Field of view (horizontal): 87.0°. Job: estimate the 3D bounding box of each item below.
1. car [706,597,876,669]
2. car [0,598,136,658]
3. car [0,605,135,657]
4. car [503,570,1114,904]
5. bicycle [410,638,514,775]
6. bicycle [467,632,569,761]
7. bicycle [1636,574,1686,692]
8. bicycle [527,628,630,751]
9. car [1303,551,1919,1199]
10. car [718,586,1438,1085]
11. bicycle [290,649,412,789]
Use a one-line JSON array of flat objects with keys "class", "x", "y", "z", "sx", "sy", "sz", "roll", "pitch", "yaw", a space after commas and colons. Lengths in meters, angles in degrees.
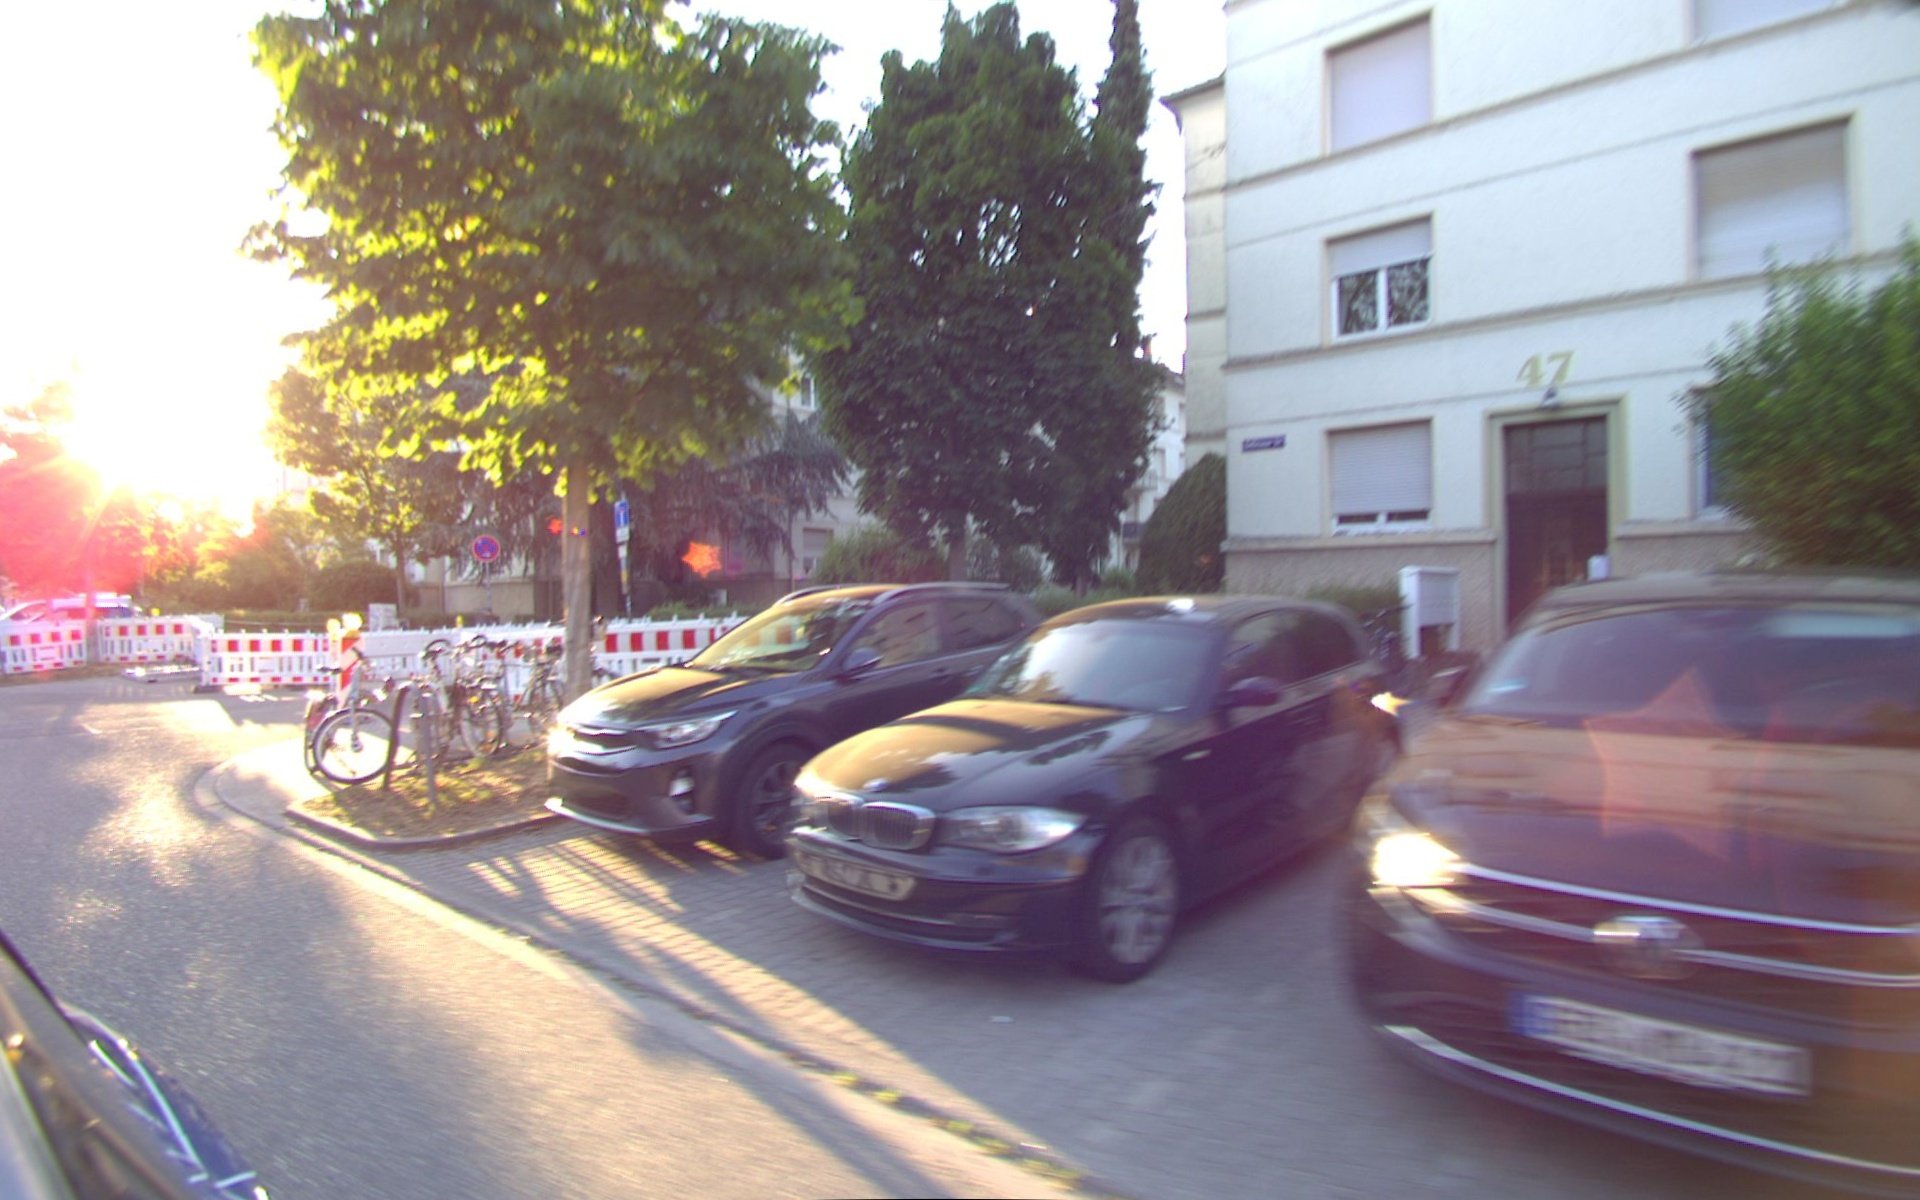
[{"class": "car", "x": -3.892, "y": 0.704, "z": 23.757, "sx": 1.785, "sy": 1.471, "sz": 3.703, "roll": 1, "pitch": 2, "yaw": 38}, {"class": "car", "x": -34.300, "y": 1.035, "z": 38.232, "sx": 4.720, "sy": 2.085, "sz": 2.001, "roll": -1, "pitch": 0, "yaw": -45}, {"class": "car", "x": -32.425, "y": 1.076, "z": 36.419, "sx": 4.073, "sy": 1.696, "sz": 2.001, "roll": -1, "pitch": 0, "yaw": -45}, {"class": "car", "x": -0.785, "y": 0.641, "z": 7.007, "sx": 1.728, "sy": 1.553, "sz": 3.944, "roll": -1, "pitch": 2, "yaw": 43}, {"class": "bicycle", "x": -4.676, "y": 0.952, "z": 9.462, "sx": 1.525, "sy": 1.167, "sz": 0.276, "roll": -1, "pitch": 0, "yaw": 41}, {"class": "bicycle", "x": -4.374, "y": 0.909, "z": 9.965, "sx": 1.525, "sy": 1.167, "sz": 0.276, "roll": -1, "pitch": 0, "yaw": 41}, {"class": "bicycle", "x": 8.515, "y": 0.368, "z": 12.319, "sx": 0.441, "sy": 1.328, "sz": 1.875, "roll": -1, "pitch": 0, "yaw": 34}, {"class": "bicycle", "x": -3.925, "y": 0.882, "z": 10.360, "sx": 1.525, "sy": 1.167, "sz": 0.276, "roll": -1, "pitch": 0, "yaw": 41}, {"class": "car", "x": 2.859, "y": 0.615, "z": 3.432, "sx": 1.728, "sy": 1.495, "sz": 3.989, "roll": -1, "pitch": 2, "yaw": 43}, {"class": "car", "x": 0.894, "y": 0.710, "z": 5.027, "sx": 1.607, "sy": 1.395, "sz": 3.801, "roll": -1, "pitch": 2, "yaw": 43}, {"class": "bicycle", "x": -5.478, "y": 1.014, "z": 9.070, "sx": 1.628, "sy": 1.104, "sz": 0.442, "roll": -1, "pitch": 0, "yaw": 41}]
